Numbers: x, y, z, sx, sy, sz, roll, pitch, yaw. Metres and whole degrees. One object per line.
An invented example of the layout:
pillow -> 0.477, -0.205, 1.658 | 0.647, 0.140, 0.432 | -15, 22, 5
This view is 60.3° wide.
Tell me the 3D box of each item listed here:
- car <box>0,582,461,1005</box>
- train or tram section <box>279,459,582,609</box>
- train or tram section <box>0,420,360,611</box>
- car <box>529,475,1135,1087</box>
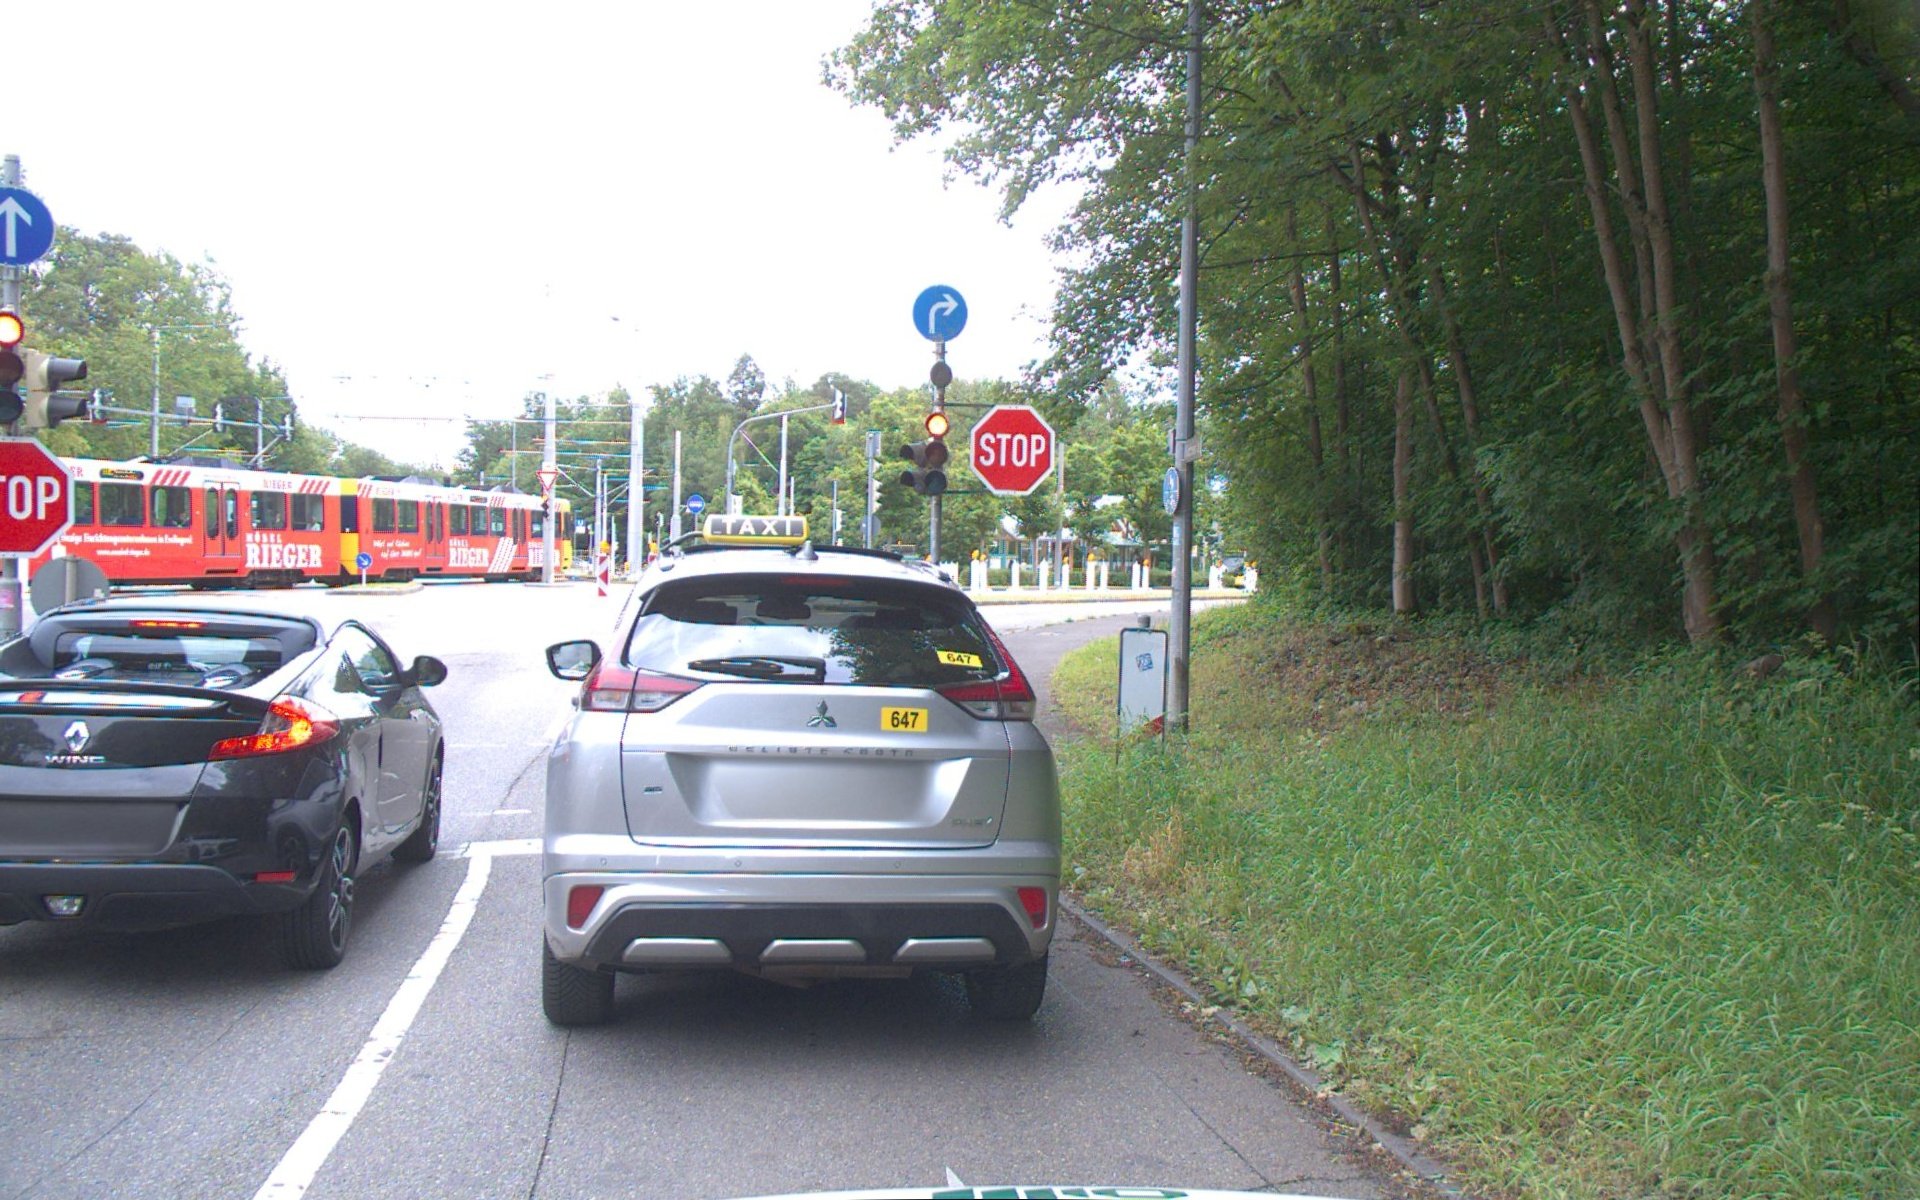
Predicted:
car -> -3.301, 0.631, 7.309 | 1.742, 1.385, 3.467 | 0, 1, -11
train or tram section -> -18.993, -2.046, 61.852 | 2.884, 4.732, 18.560 | 1, 0, 8
train or tram section -> -23.036, -2.018, 43.474 | 2.894, 4.496, 18.739 | 1, 0, 17
car -> -0.648, 0.521, 6.806 | 1.741, 1.778, 3.773 | 2, 1, -9
